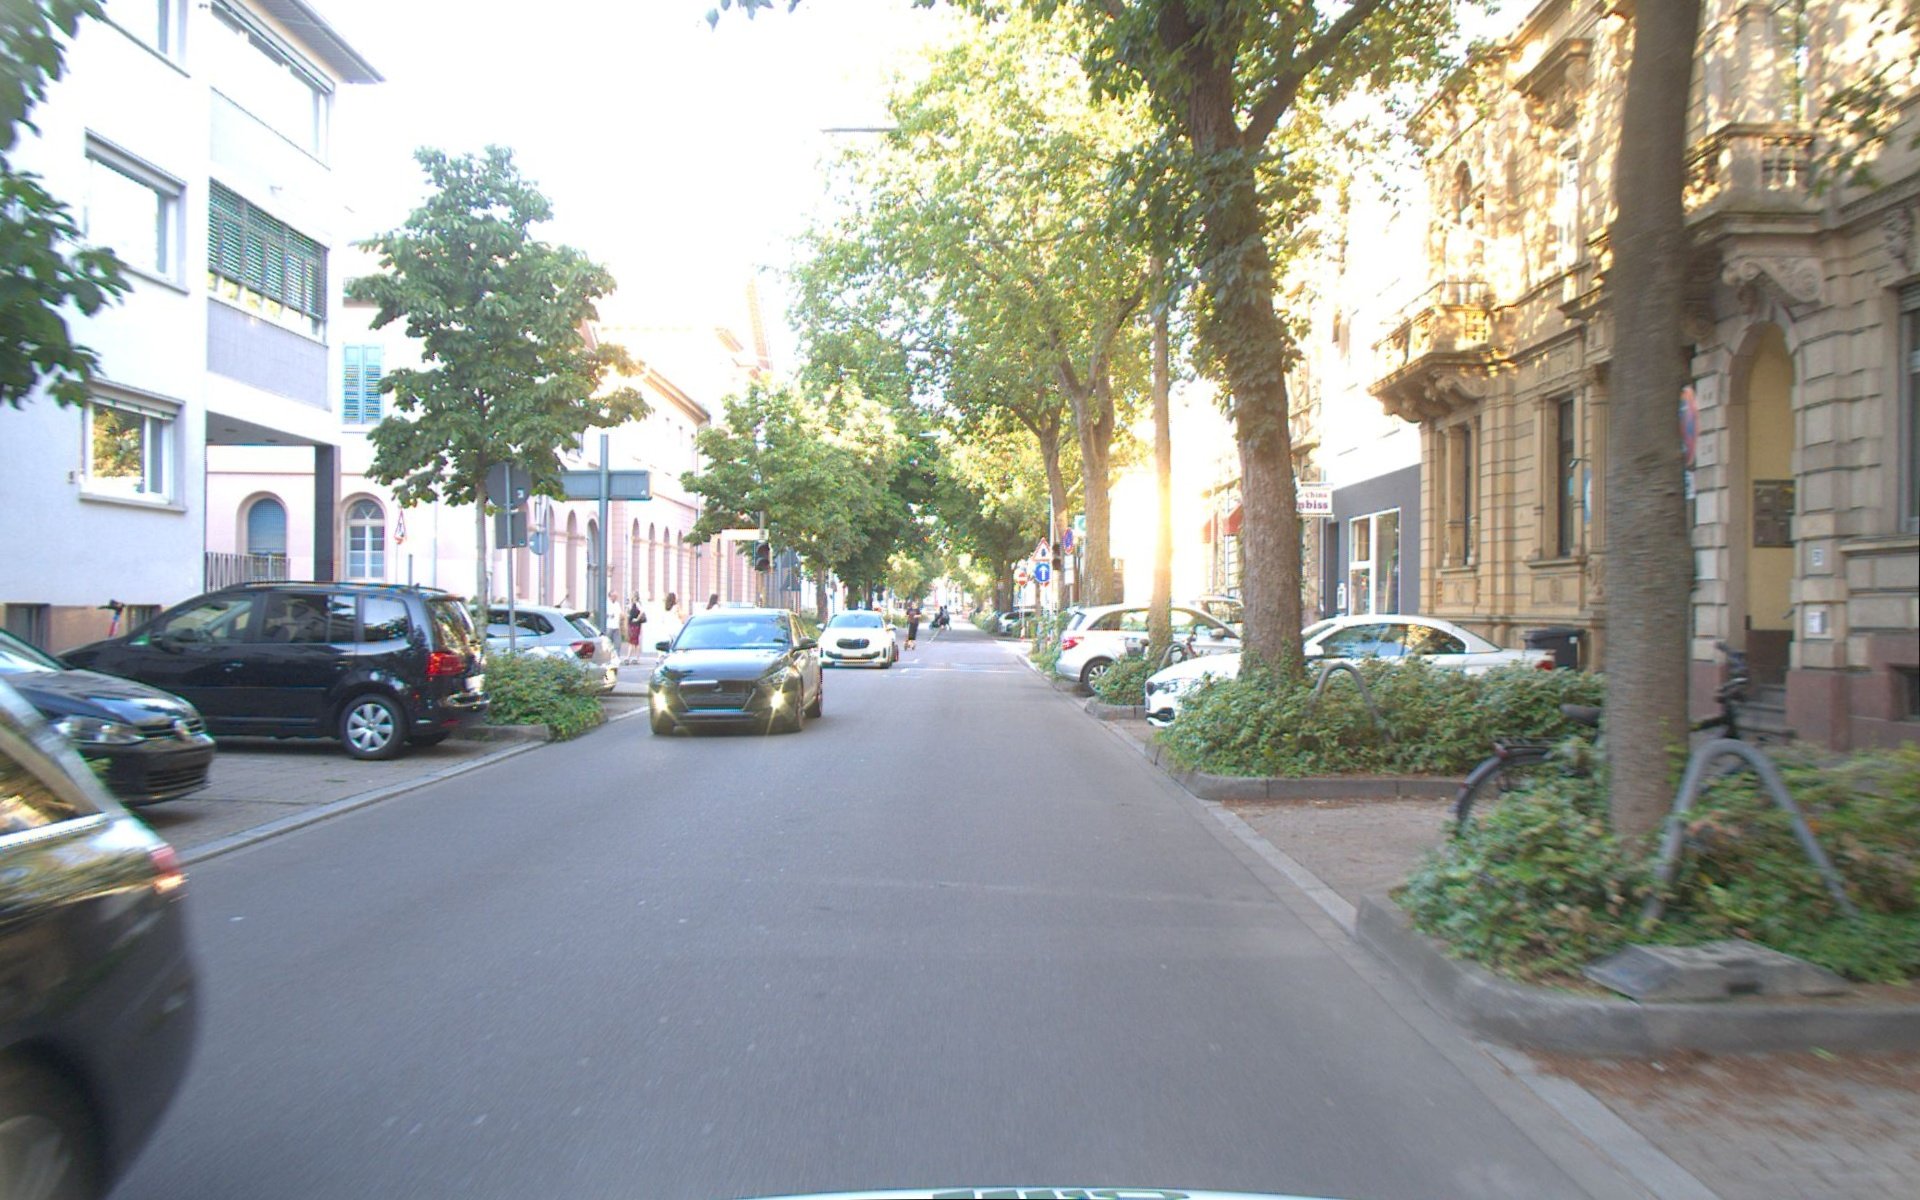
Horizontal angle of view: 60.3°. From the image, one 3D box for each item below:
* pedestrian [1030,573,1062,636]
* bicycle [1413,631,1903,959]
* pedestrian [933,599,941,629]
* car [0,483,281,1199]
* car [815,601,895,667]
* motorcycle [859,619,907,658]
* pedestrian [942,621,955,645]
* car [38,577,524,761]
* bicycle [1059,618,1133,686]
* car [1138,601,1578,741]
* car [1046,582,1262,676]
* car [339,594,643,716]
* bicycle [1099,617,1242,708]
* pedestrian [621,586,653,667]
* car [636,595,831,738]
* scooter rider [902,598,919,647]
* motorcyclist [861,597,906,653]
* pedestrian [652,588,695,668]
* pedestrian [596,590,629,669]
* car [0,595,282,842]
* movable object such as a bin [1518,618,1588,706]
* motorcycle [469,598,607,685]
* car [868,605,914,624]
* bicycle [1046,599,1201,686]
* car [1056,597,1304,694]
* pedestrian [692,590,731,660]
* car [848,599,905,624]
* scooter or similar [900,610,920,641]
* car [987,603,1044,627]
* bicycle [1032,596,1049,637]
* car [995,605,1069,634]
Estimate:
[{"bbox_3d":[3.033,0.169,58.465,1.022,2.184,1.063,1,-1,0],"label":"pedestrian"},{"bbox_3d":[3.147,0.868,7.529,2.005,1.384,0.508,2,0,-2],"label":"bicycle"},{"bbox_3d":[-1.588,0.998,115.235,0.492,2.049,0.621,1,-1,1],"label":"pedestrian"},{"bbox_3d":[-2.489,0.647,1.570,1.839,1.669,4.645,-1,0,-1],"label":"car"},{"bbox_3d":[-2.620,0.820,42.258,1.839,1.576,4.274,-1,0,-1],"label":"car"},{"bbox_3d":[-2.257,1.150,48.774,1.285,1.109,2.396,0,-2,0],"label":"motorcycle"},{"bbox_3d":[-0.801,2.308,115.693,0.856,1.679,0.655,1,0,7],"label":"pedestrian"},{"bbox_3d":[-6.659,0.653,16.561,4.008,1.660,1.936,1,0,1],"label":"car"},{"bbox_3d":[2.510,0.957,30.582,1.310,1.225,0.488,-1,0,-1],"label":"bicycle"},{"bbox_3d":[4.310,0.753,18.484,4.488,1.462,1.925,0,0,2],"label":"car"},{"bbox_3d":[4.210,0.618,36.375,4.449,1.948,1.949,-1,0,-3],"label":"car"},{"bbox_3d":[-6.415,0.736,22.913,3.665,1.484,1.735,2,0,-1],"label":"car"},{"bbox_3d":[3.061,0.898,24.013,1.984,1.225,0.487,-2,0,-13],"label":"bicycle"},{"bbox_3d":[-7.674,0.615,39.333,0.542,1.882,0.612,1,1,14],"label":"pedestrian"},{"bbox_3d":[-2.711,0.752,20.702,1.838,1.576,4.274,-1,0,0],"label":"car"},{"bbox_3d":[-1.854,0.847,61.999,0.484,1.823,0.875,0,-1,10],"label":"scooter rider"},{"bbox_3d":[-2.255,0.736,48.855,1.254,1.620,1.077,0,0,0],"label":"motorcyclist"},{"bbox_3d":[-6.743,0.644,38.973,0.774,1.822,0.771,3,0,3],"label":"pedestrian"},{"bbox_3d":[-8.305,0.697,39.550,0.542,1.883,0.612,0,-1,14],"label":"pedestrian"},{"bbox_3d":[-6.939,0.694,11.108,3.991,1.465,1.755,2,0,1],"label":"car"},{"bbox_3d":[7.522,0.783,20.987,0.644,1.083,0.615,-1,-1,0],"label":"movable object such as a bin"},{"bbox_3d":[-7.179,0.699,28.148,2.104,1.444,0.968,-1,-1,21],"label":"motorcycle"},{"bbox_3d":[-7.691,1.610,185.112,4.960,2.119,2.263,0,0,1],"label":"car"},{"bbox_3d":[3.312,0.860,33.556,3.052,1.692,0.658,1,0,-5],"label":"bicycle"},{"bbox_3d":[3.743,0.766,28.760,4.136,1.587,1.971,-1,0,3],"label":"car"},{"bbox_3d":[-6.380,0.640,42.439,0.829,1.769,0.773,2,-1,-18],"label":"pedestrian"},{"bbox_3d":[-7.478,1.022,148.796,4.961,2.119,2.263,0,0,-1],"label":"car"},{"bbox_3d":[-1.862,0.952,61.951,0.491,1.165,1.251,0,-1,10],"label":"scooter or similar"},{"bbox_3d":[3.878,1.045,116.071,3.933,1.651,1.780,0,0,-2],"label":"car"},{"bbox_3d":[2.798,0.570,57.586,0.407,1.396,1.289,-1,0,11],"label":"bicycle"},{"bbox_3d":[4.107,1.119,94.952,4.107,1.506,1.852,-1,0,0],"label":"car"}]
